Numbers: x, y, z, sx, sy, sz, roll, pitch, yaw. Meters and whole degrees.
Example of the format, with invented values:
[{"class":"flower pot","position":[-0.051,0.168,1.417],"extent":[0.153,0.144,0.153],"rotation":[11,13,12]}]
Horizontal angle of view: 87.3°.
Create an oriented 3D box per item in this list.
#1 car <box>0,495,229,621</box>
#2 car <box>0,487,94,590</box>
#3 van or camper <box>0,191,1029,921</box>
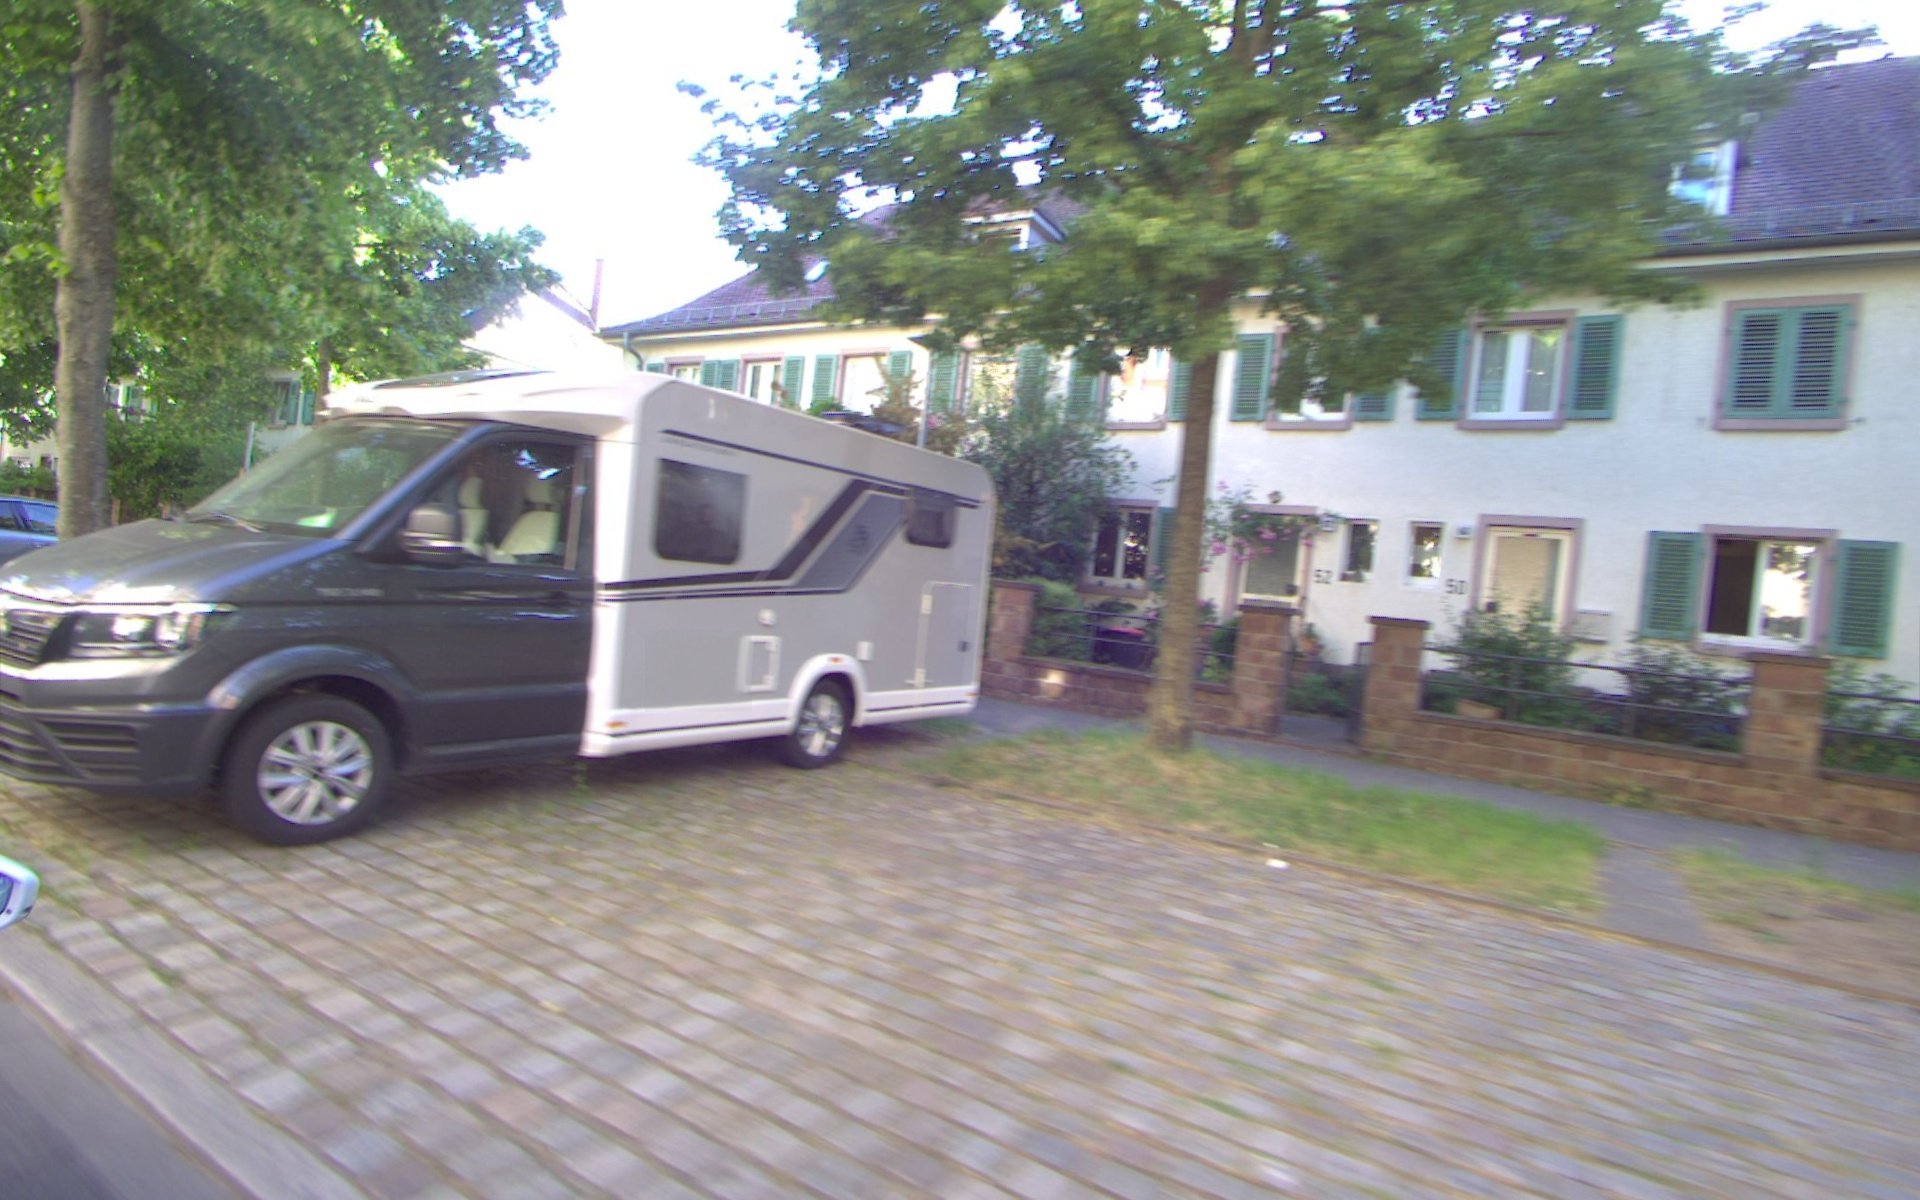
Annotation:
[{"class":"car","position":[-12.556,-0.627,13.507],"extent":[1.661,1.472,4.040],"rotation":[6,0,28]},{"class":"car","position":[-17.078,-1.161,16.335],"extent":[1.664,1.619,4.225],"rotation":[4,-1,33]},{"class":"van or camper","position":[-2.413,-0.197,7.353],"extent":[2.425,2.683,7.141],"rotation":[7,3,33]}]
